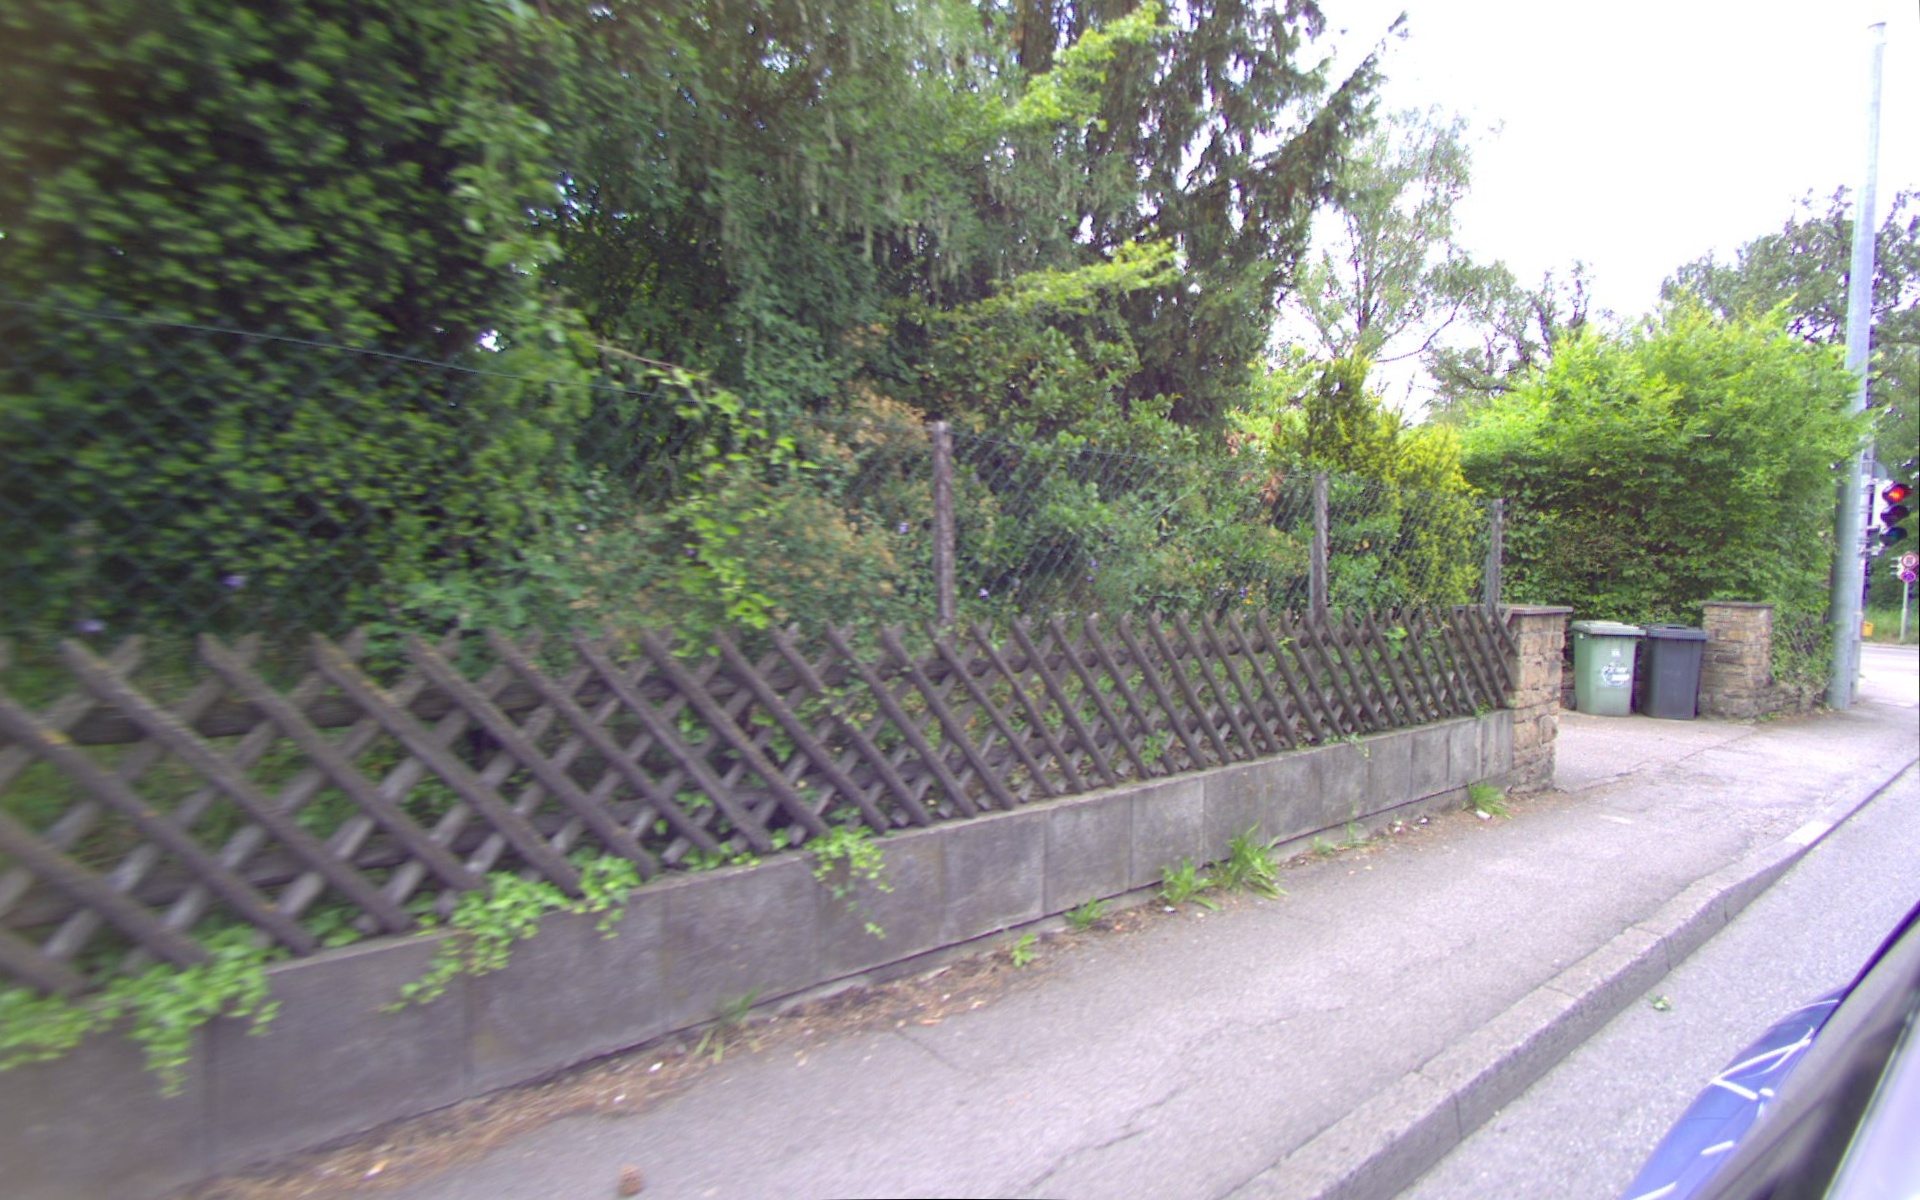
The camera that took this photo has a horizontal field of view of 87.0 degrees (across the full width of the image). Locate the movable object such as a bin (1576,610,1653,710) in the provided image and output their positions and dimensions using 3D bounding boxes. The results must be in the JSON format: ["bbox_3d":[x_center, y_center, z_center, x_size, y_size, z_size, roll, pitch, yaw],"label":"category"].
[{"bbox_3d":[7.455,0.667,11.548,0.532,1.075,0.507,3,1,12],"label":"movable object such as a bin"}]

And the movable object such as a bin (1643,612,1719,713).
[{"bbox_3d":[8.144,0.696,11.450,0.534,1.058,0.505,4,2,23],"label":"movable object such as a bin"}]
